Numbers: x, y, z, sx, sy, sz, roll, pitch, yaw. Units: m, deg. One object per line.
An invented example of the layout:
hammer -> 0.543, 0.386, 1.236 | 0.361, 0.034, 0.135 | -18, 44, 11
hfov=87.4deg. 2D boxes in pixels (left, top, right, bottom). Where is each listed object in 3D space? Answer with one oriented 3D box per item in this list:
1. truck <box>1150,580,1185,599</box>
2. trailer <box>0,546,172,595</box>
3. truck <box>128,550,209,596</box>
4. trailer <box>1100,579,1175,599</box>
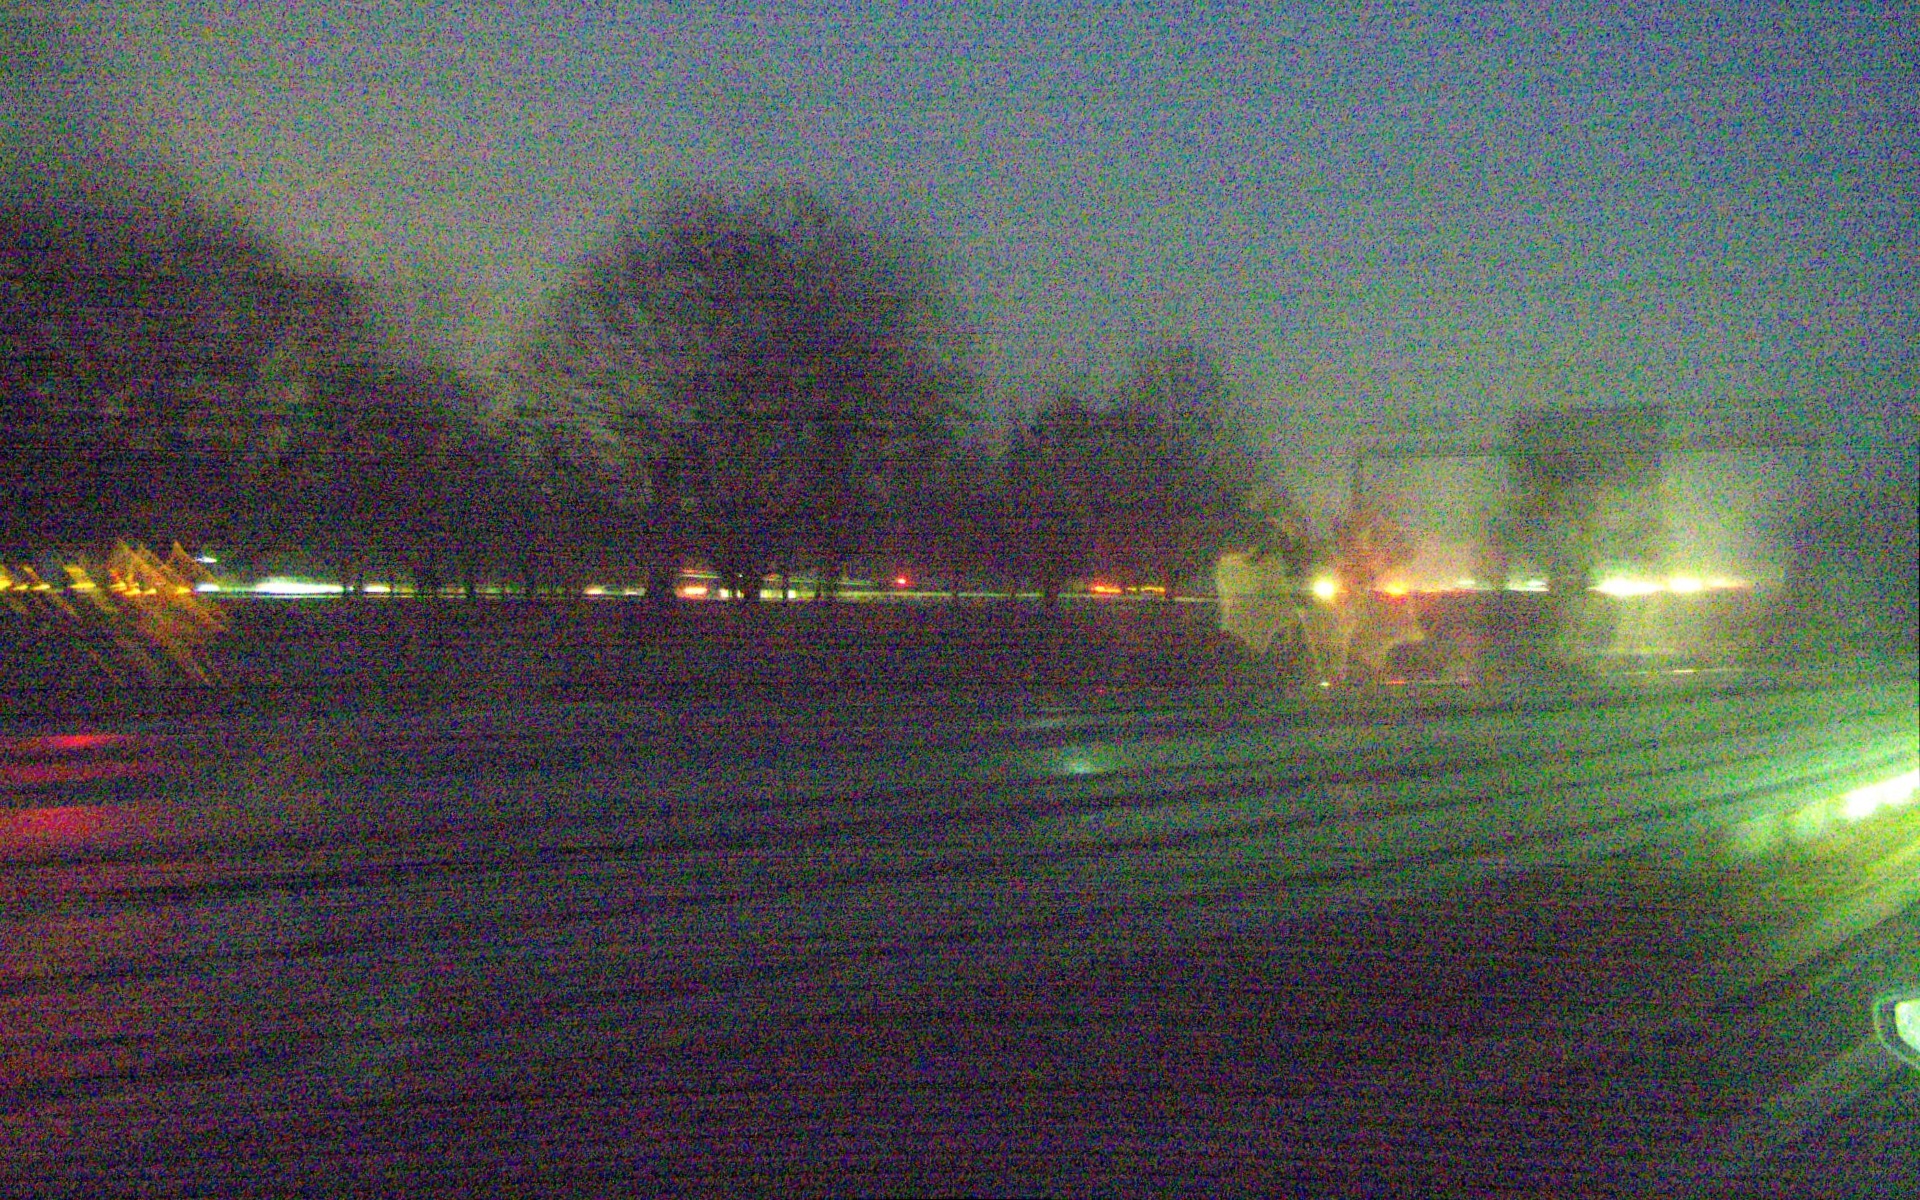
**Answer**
truck -> 32.108, -1.573, 155.429 | 4.705, 2.727, 2.661 | 1, 3, -33
trailer -> -75.671, -2.471, 85.334 | 13.510, 3.775, 2.575 | 1, 3, -34
truck -> -70.094, -2.384, 89.110 | 5.402, 3.761, 2.571 | 1, 2, -34
trailer -> 26.929, -1.625, 152.096 | 12.717, 2.736, 2.671 | 1, 3, -33
